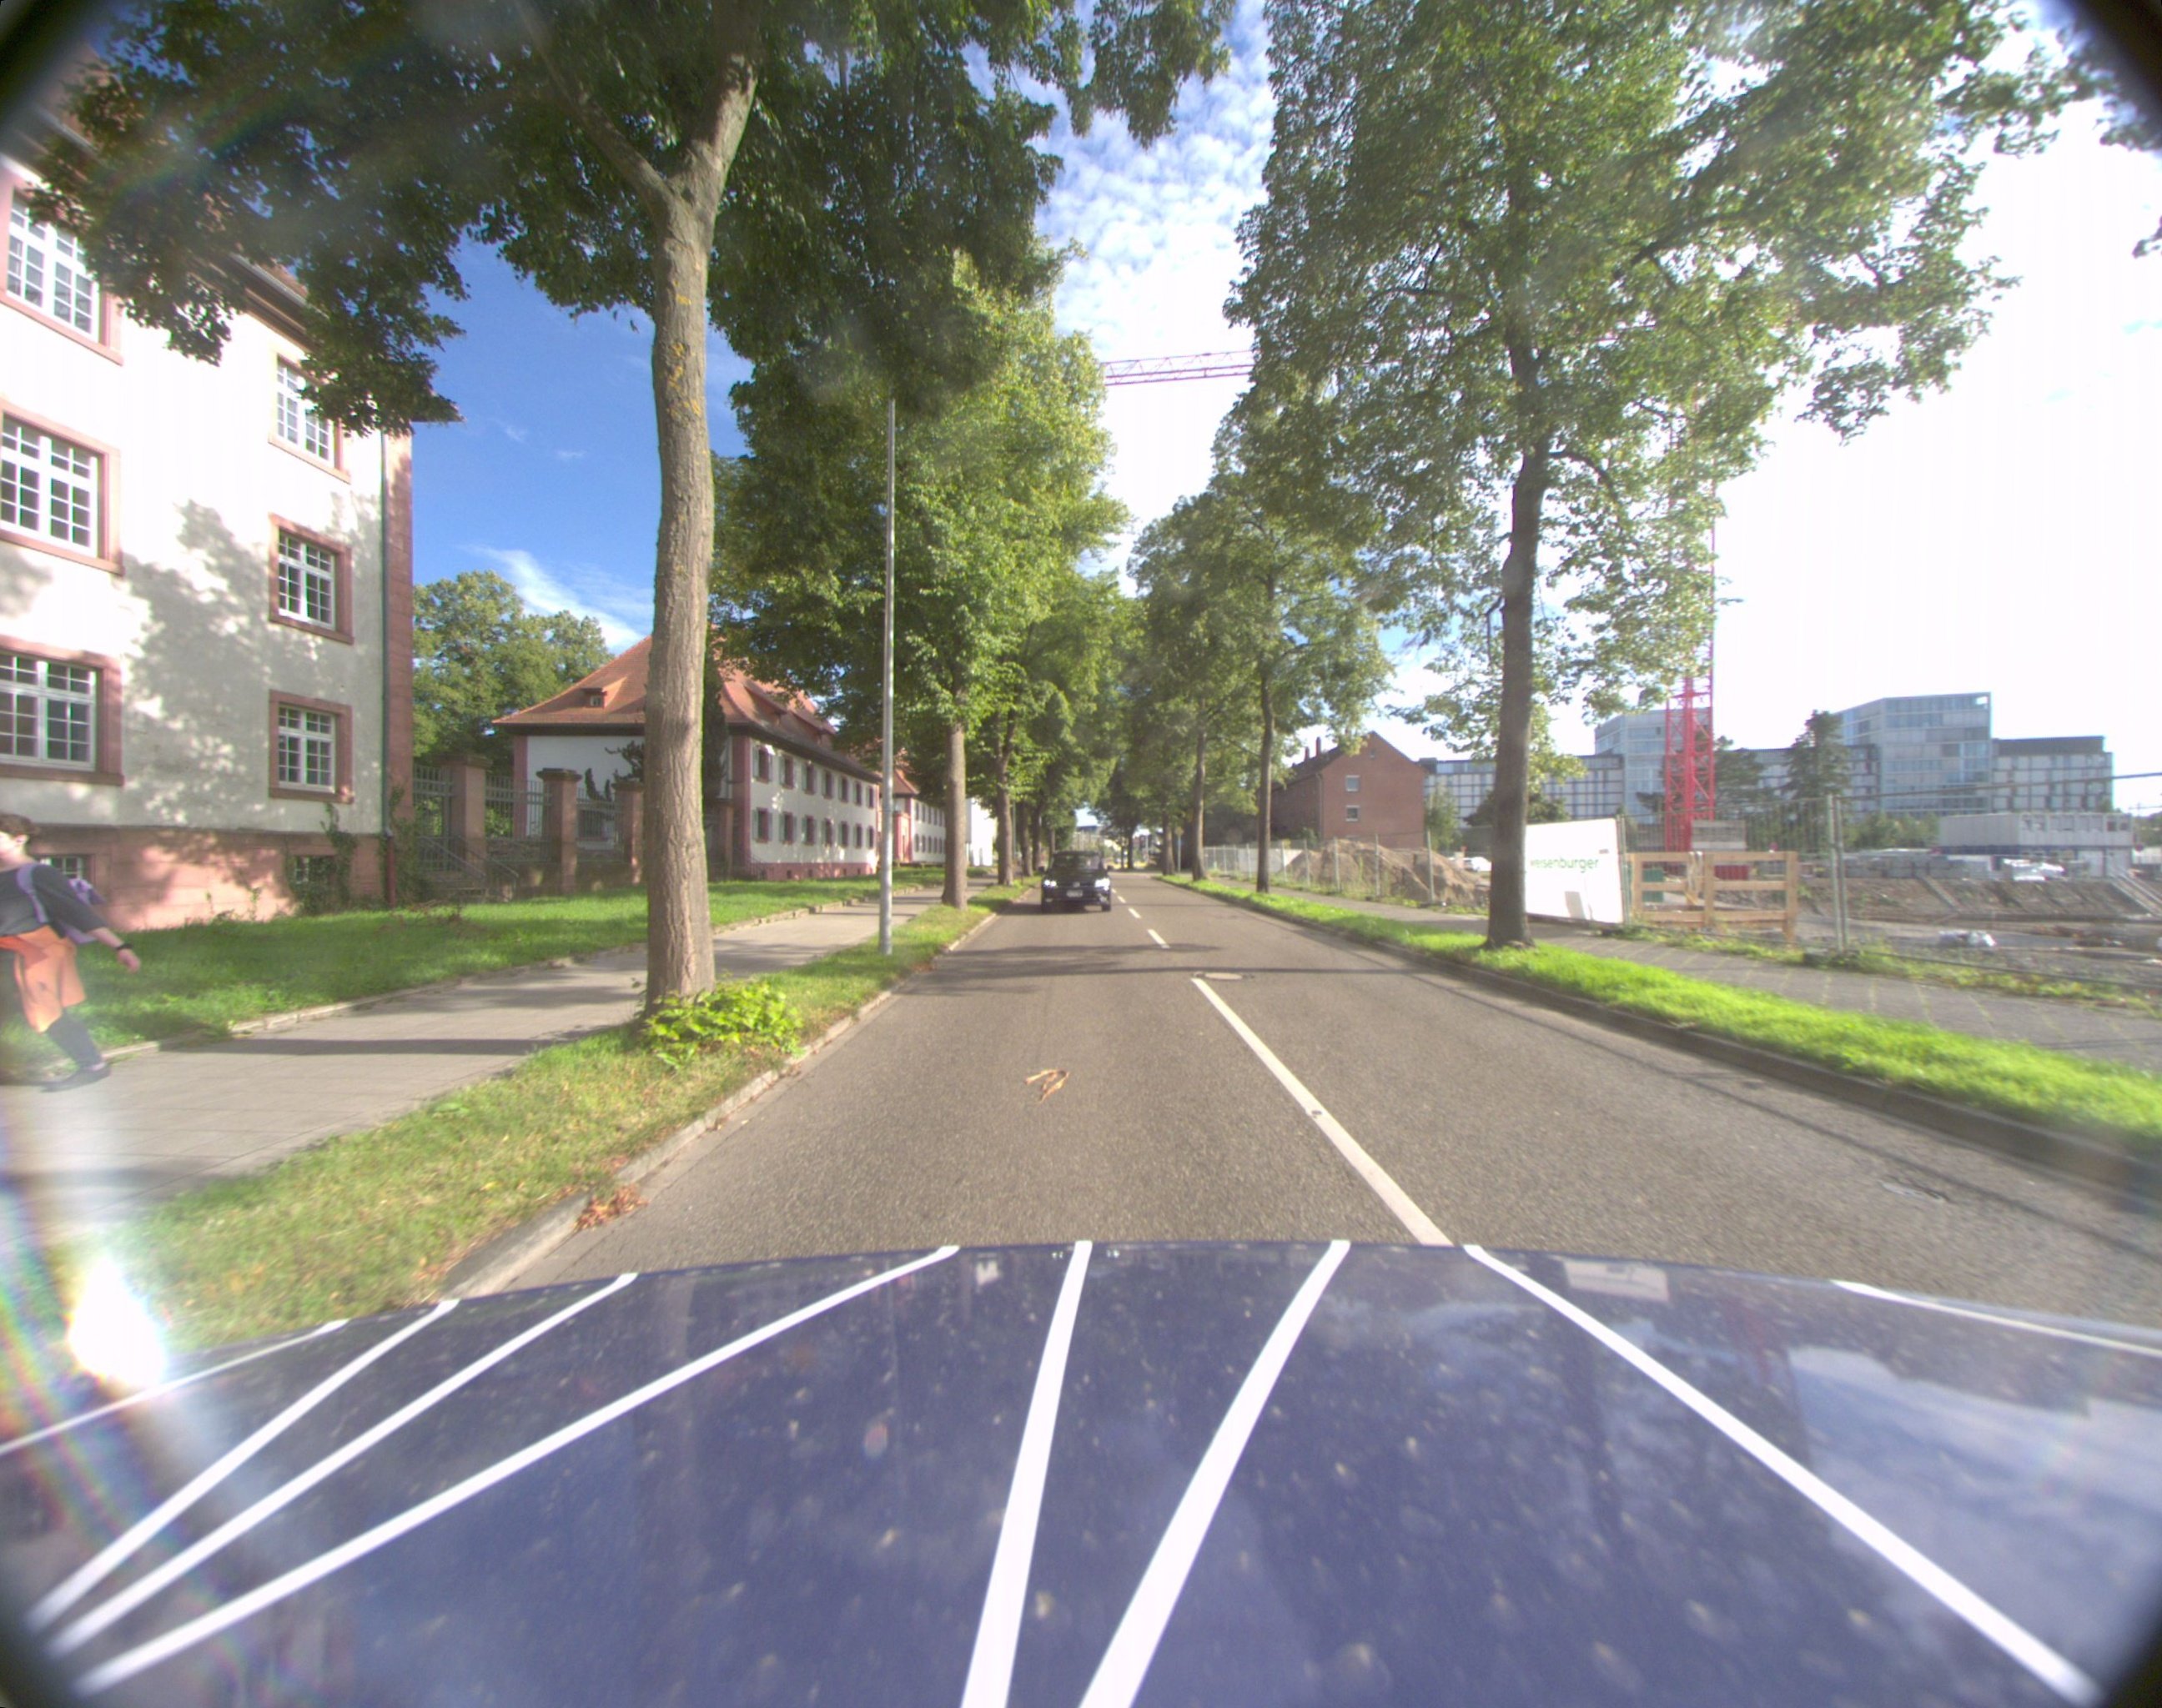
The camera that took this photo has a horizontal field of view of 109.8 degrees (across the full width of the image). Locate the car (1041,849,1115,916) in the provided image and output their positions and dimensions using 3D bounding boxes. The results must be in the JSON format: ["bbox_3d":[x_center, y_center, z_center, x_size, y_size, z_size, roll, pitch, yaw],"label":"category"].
[{"bbox_3d":[-0.026,0.743,21.267,1.821,1.648,4.243,-1,0,1],"label":"car"}]

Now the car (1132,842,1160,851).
[{"bbox_3d":[14.550,-1.754,171.168,2.483,1.856,6.234,-2,1,-43],"label":"car"}]

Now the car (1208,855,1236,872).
[{"bbox_3d":[13.148,0.835,71.099,1.998,1.420,4.507,1,1,2],"label":"car"}]

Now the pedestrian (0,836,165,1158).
[{"bbox_3d":[-5.758,0.706,4.034,0.816,1.581,0.769,2,1,-1],"label":"pedestrian"}]
